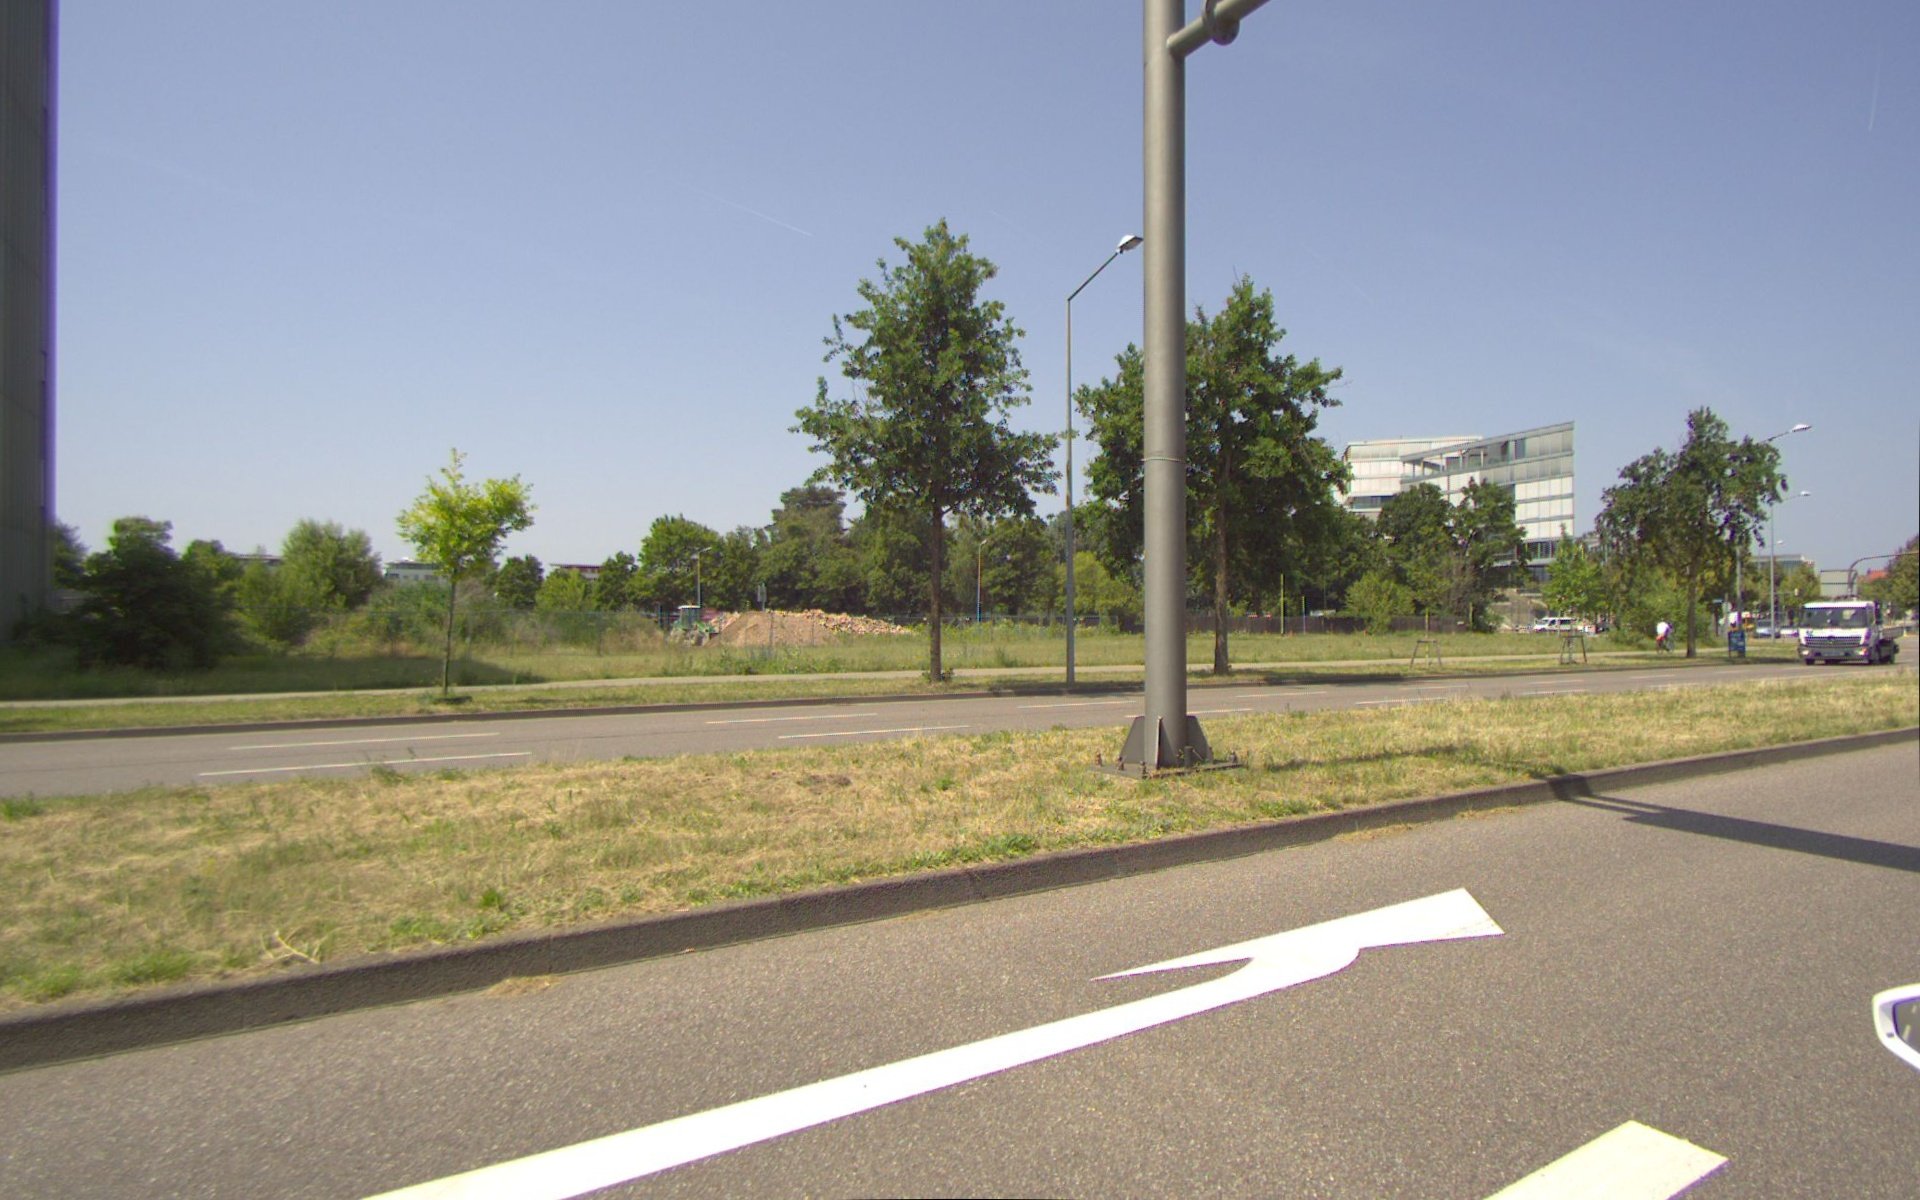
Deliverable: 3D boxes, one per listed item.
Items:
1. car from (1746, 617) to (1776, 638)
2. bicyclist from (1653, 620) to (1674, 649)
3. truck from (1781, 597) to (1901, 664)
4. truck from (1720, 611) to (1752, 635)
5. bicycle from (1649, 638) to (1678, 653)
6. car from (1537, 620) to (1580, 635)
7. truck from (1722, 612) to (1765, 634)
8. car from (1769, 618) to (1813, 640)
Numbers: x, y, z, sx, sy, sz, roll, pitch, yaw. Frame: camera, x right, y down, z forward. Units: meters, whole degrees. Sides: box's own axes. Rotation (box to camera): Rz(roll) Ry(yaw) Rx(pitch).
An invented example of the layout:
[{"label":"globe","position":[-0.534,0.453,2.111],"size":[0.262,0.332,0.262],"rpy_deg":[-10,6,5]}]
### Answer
[{"label":"car","position":[69.808,2.387,87.492],"size":[1.970,1.840,3.982],"rpy_deg":[-1,-1,39]},{"label":"bicyclist","position":[35.991,1.759,51.404],"size":[0.748,1.509,0.620],"rpy_deg":[1,-1,-29]},{"label":"truck","position":[37.079,1.264,42.207],"size":[6.260,2.611,2.620],"rpy_deg":[1,-1,-37]},{"label":"truck","position":[92.773,2.716,120.112],"size":[1.962,2.775,5.029],"rpy_deg":[-1,-1,25]},{"label":"bicycle","position":[36.026,2.320,51.407],"size":[1.828,0.725,0.479],"rpy_deg":[1,-1,-29]},{"label":"car","position":[75.025,3.431,125.967],"size":[4.204,1.903,2.000],"rpy_deg":[0,-1,1]},{"label":"truck","position":[97.915,2.869,125.576],"size":[2.315,2.629,6.413],"rpy_deg":[0,-1,19]},{"label":"car","position":[61.314,2.139,74.176],"size":[1.965,1.617,3.991],"rpy_deg":[0,-1,31]}]
